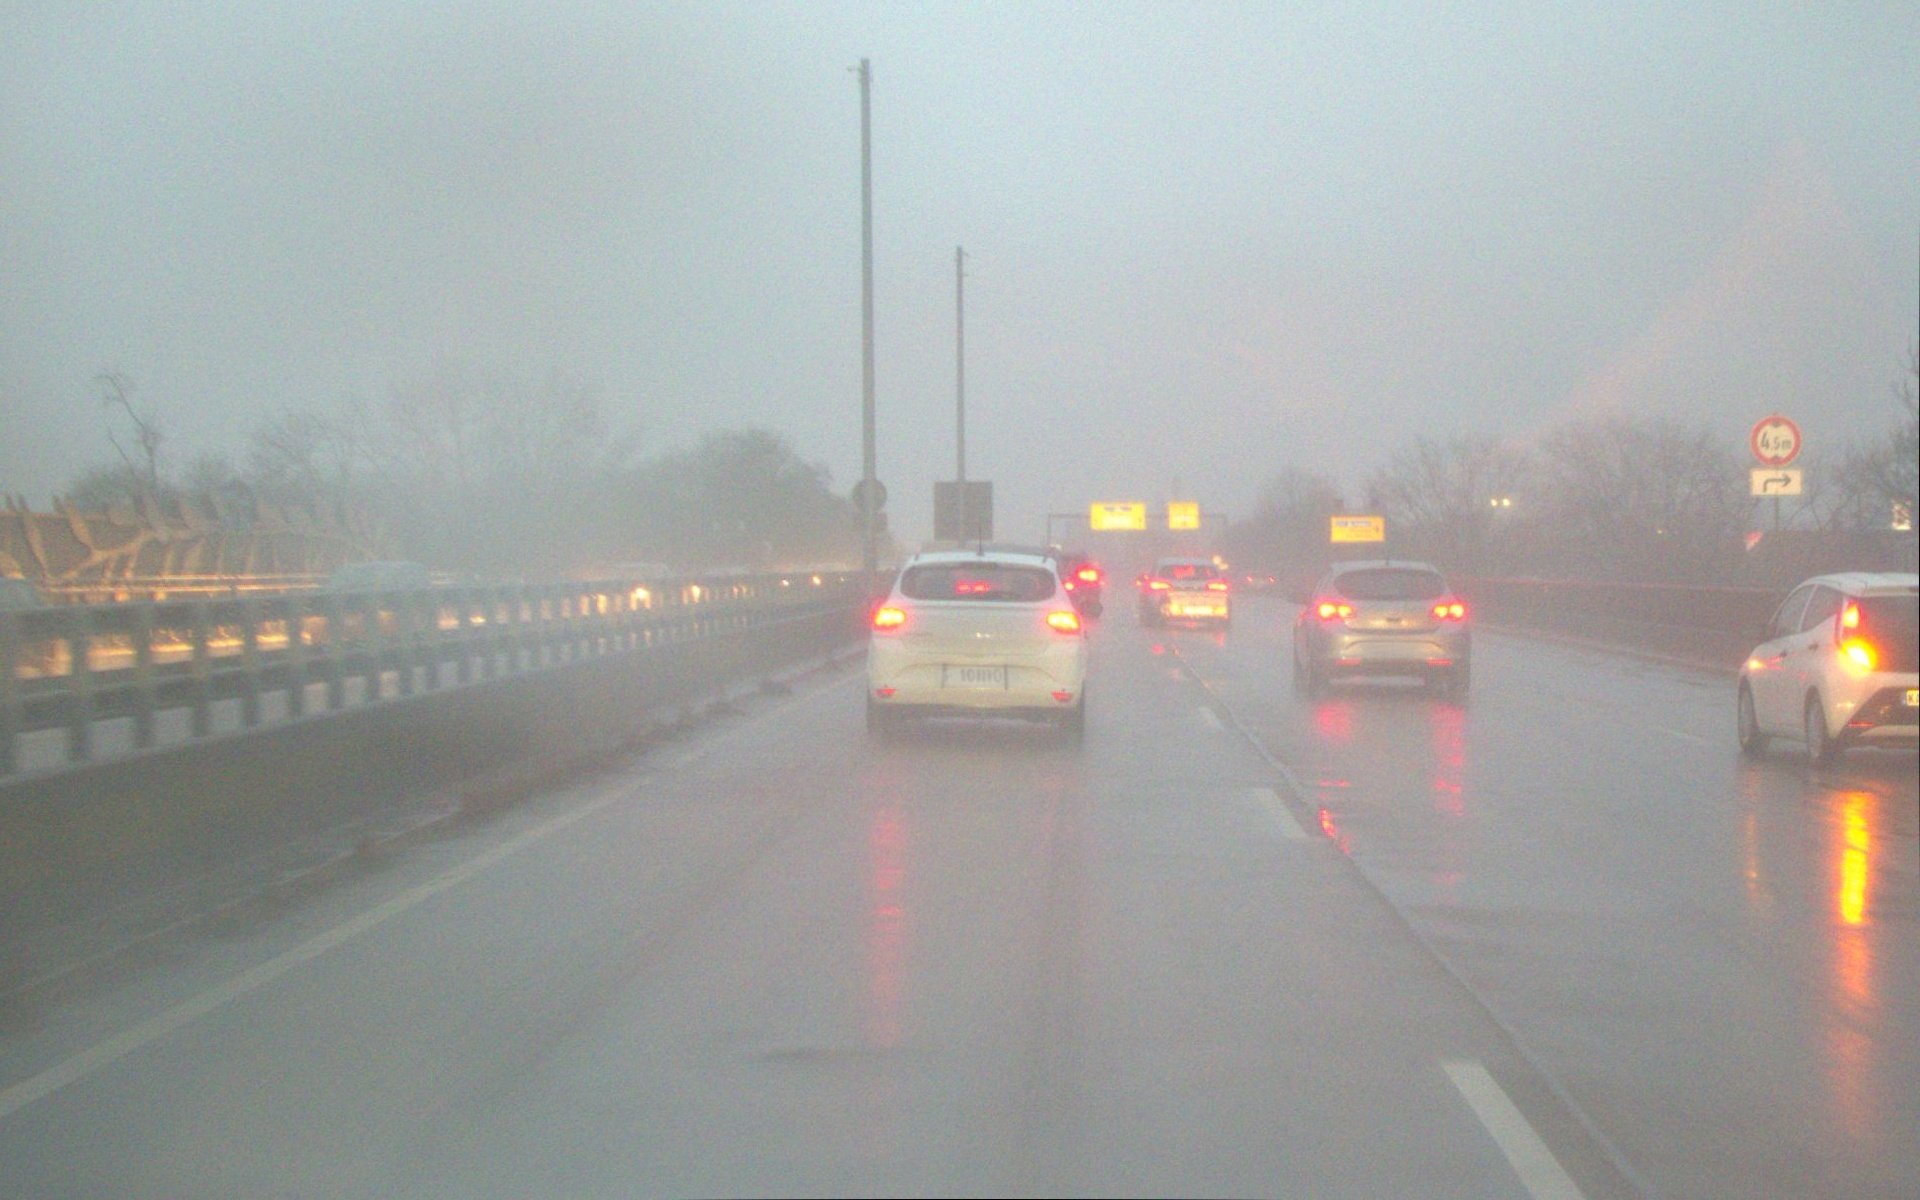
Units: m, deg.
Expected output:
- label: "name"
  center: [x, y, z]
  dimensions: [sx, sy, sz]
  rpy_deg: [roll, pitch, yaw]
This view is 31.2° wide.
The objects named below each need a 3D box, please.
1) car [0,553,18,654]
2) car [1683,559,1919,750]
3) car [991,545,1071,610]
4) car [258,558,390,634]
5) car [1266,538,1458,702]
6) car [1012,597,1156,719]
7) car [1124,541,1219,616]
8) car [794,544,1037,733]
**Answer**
- label: "car"
  center: [-14.894, 0.079, 48.868]
  dimensions: [1.894, 1.459, 4.000]
  rpy_deg: [-1, 1, 0]
- label: "car"
  center: [7.048, 0.376, 26.898]
  dimensions: [1.993, 1.341, 4.000]
  rpy_deg: [0, 1, 1]
- label: "car"
  center: [1.753, -0.567, 83.945]
  dimensions: [1.789, 1.540, 4.000]
  rpy_deg: [1, 1, 3]
- label: "car"
  center: [-12.737, -0.100, 69.038]
  dimensions: [1.894, 1.459, 4.000]
  rpy_deg: [-1, 1, 0]
- label: "car"
  center: [4.542, 0.181, 39.371]
  dimensions: [1.897, 1.761, 4.308]
  rpy_deg: [1, 1, 3]
- label: "car"
  center: [1.806, 0.814, 50.732]
  dimensions: [1.993, 1.596, 4.308]
  rpy_deg: [2, 1, 1]
- label: "car"
  center: [4.448, -0.479, 72.635]
  dimensions: [1.789, 1.540, 4.000]
  rpy_deg: [0, 1, 1]
- label: "car"
  center: [-0.297, 0.262, 28.561]
  dimensions: [1.724, 1.435, 4.225]
  rpy_deg: [1, 1, 3]
